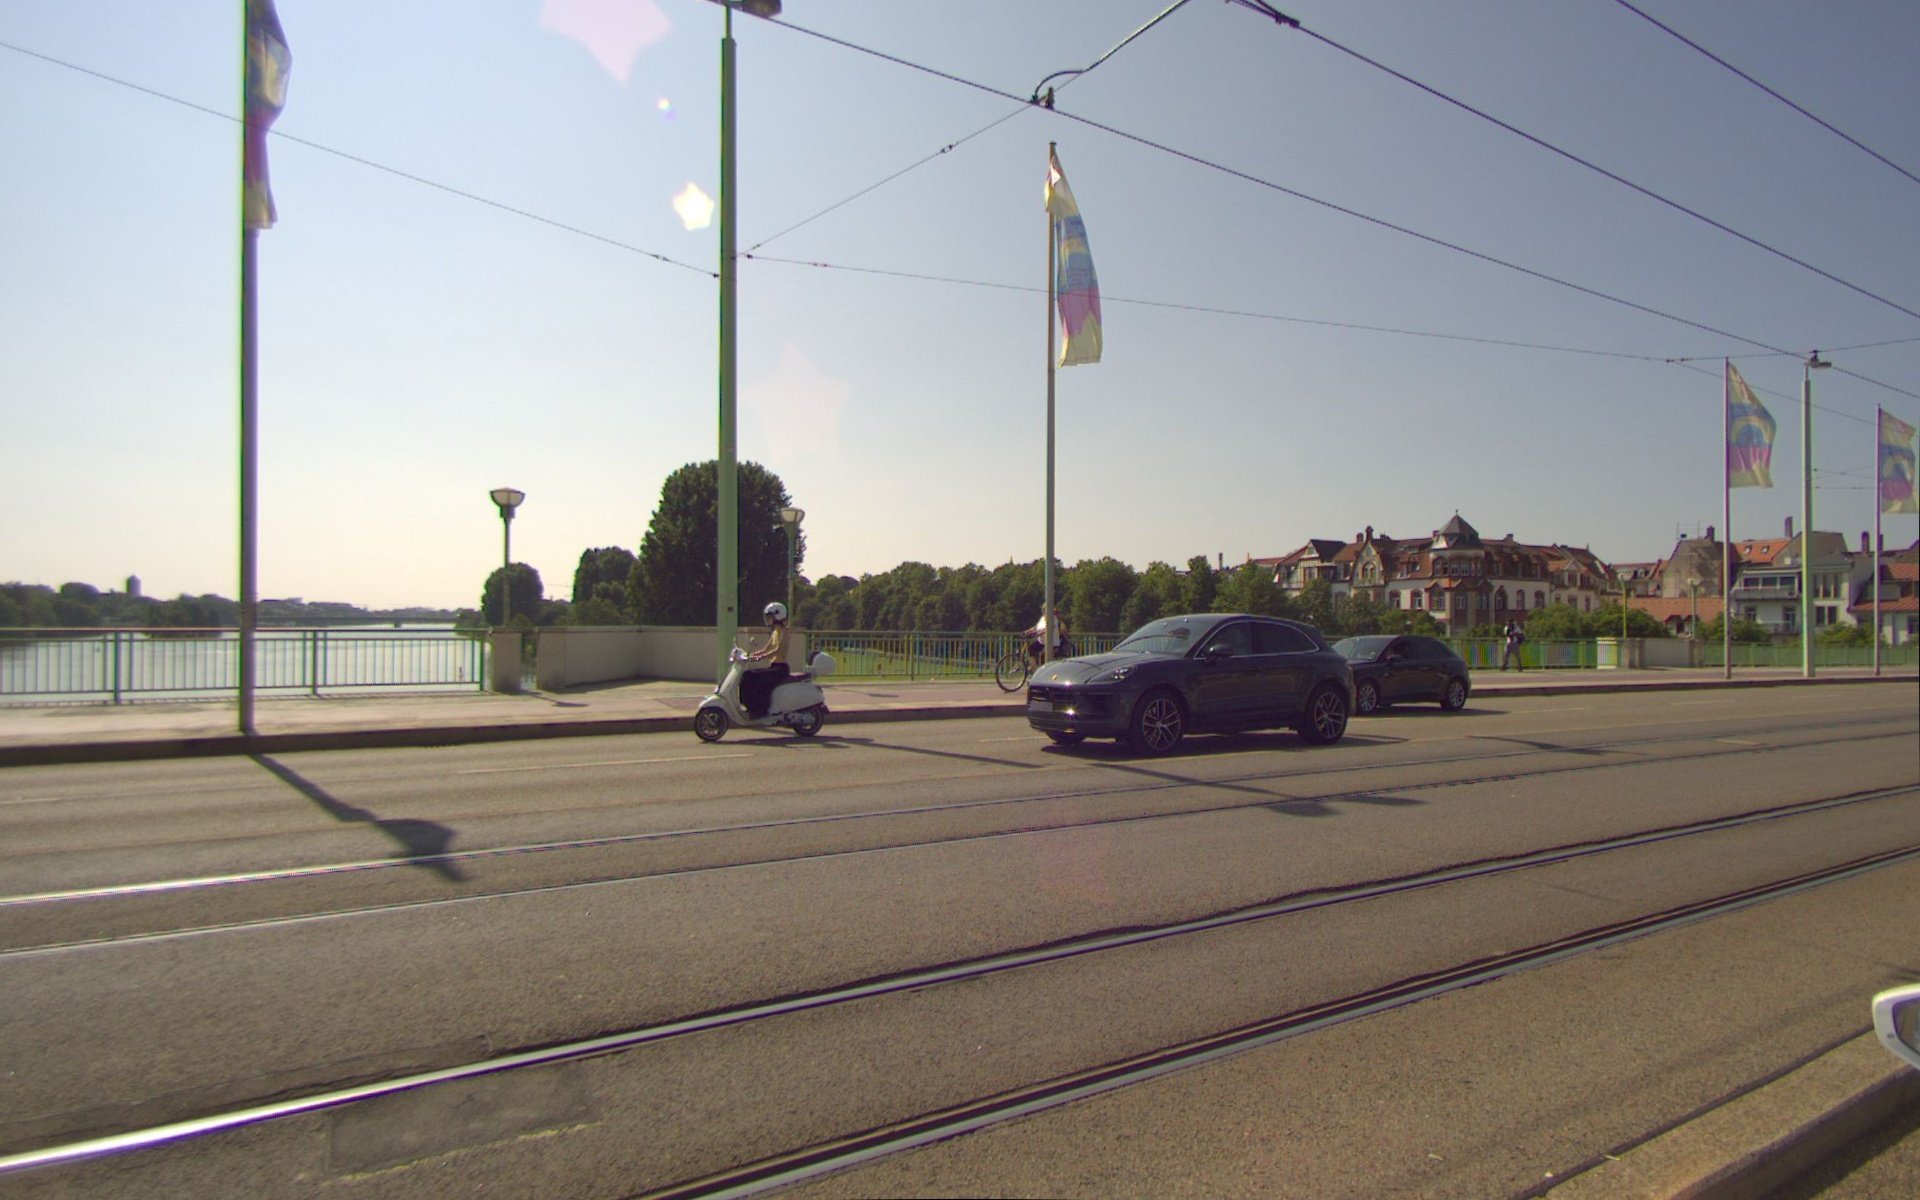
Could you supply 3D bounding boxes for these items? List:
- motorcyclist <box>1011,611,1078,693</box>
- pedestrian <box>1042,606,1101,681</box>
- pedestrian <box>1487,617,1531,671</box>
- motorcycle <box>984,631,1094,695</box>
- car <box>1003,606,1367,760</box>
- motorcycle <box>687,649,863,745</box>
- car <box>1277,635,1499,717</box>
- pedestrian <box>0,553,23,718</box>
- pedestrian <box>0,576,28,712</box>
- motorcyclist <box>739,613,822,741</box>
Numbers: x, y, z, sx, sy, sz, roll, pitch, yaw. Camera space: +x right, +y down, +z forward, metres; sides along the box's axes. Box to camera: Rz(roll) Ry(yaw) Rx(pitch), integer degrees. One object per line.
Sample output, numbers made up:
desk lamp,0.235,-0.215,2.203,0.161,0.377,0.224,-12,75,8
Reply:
motorcyclist,1.651,1.002,19.692,1.057,1.570,0.796,1,-1,-31
pedestrian,2.573,0.991,23.157,1.016,1.680,0.895,1,0,-28
pedestrian,17.829,1.416,32.621,1.081,1.745,0.826,1,-1,-30
motorcycle,1.560,1.212,19.648,2.154,1.125,0.697,-1,0,-31
car,2.850,0.934,12.525,4.289,1.620,1.983,1,-2,-32
motorcycle,-2.399,1.224,13.131,2.154,1.125,0.697,1,-1,-31
car,8.256,1.376,19.273,4.333,1.380,1.749,1,-1,-31
pedestrian,-12.638,0.440,12.473,1.281,2.040,1.091,0,0,-33
pedestrian,-13.154,0.569,13.097,1.281,1.752,1.091,0,0,-33
motorcyclist,-2.352,0.977,13.133,0.822,1.595,0.823,1,-1,-31
